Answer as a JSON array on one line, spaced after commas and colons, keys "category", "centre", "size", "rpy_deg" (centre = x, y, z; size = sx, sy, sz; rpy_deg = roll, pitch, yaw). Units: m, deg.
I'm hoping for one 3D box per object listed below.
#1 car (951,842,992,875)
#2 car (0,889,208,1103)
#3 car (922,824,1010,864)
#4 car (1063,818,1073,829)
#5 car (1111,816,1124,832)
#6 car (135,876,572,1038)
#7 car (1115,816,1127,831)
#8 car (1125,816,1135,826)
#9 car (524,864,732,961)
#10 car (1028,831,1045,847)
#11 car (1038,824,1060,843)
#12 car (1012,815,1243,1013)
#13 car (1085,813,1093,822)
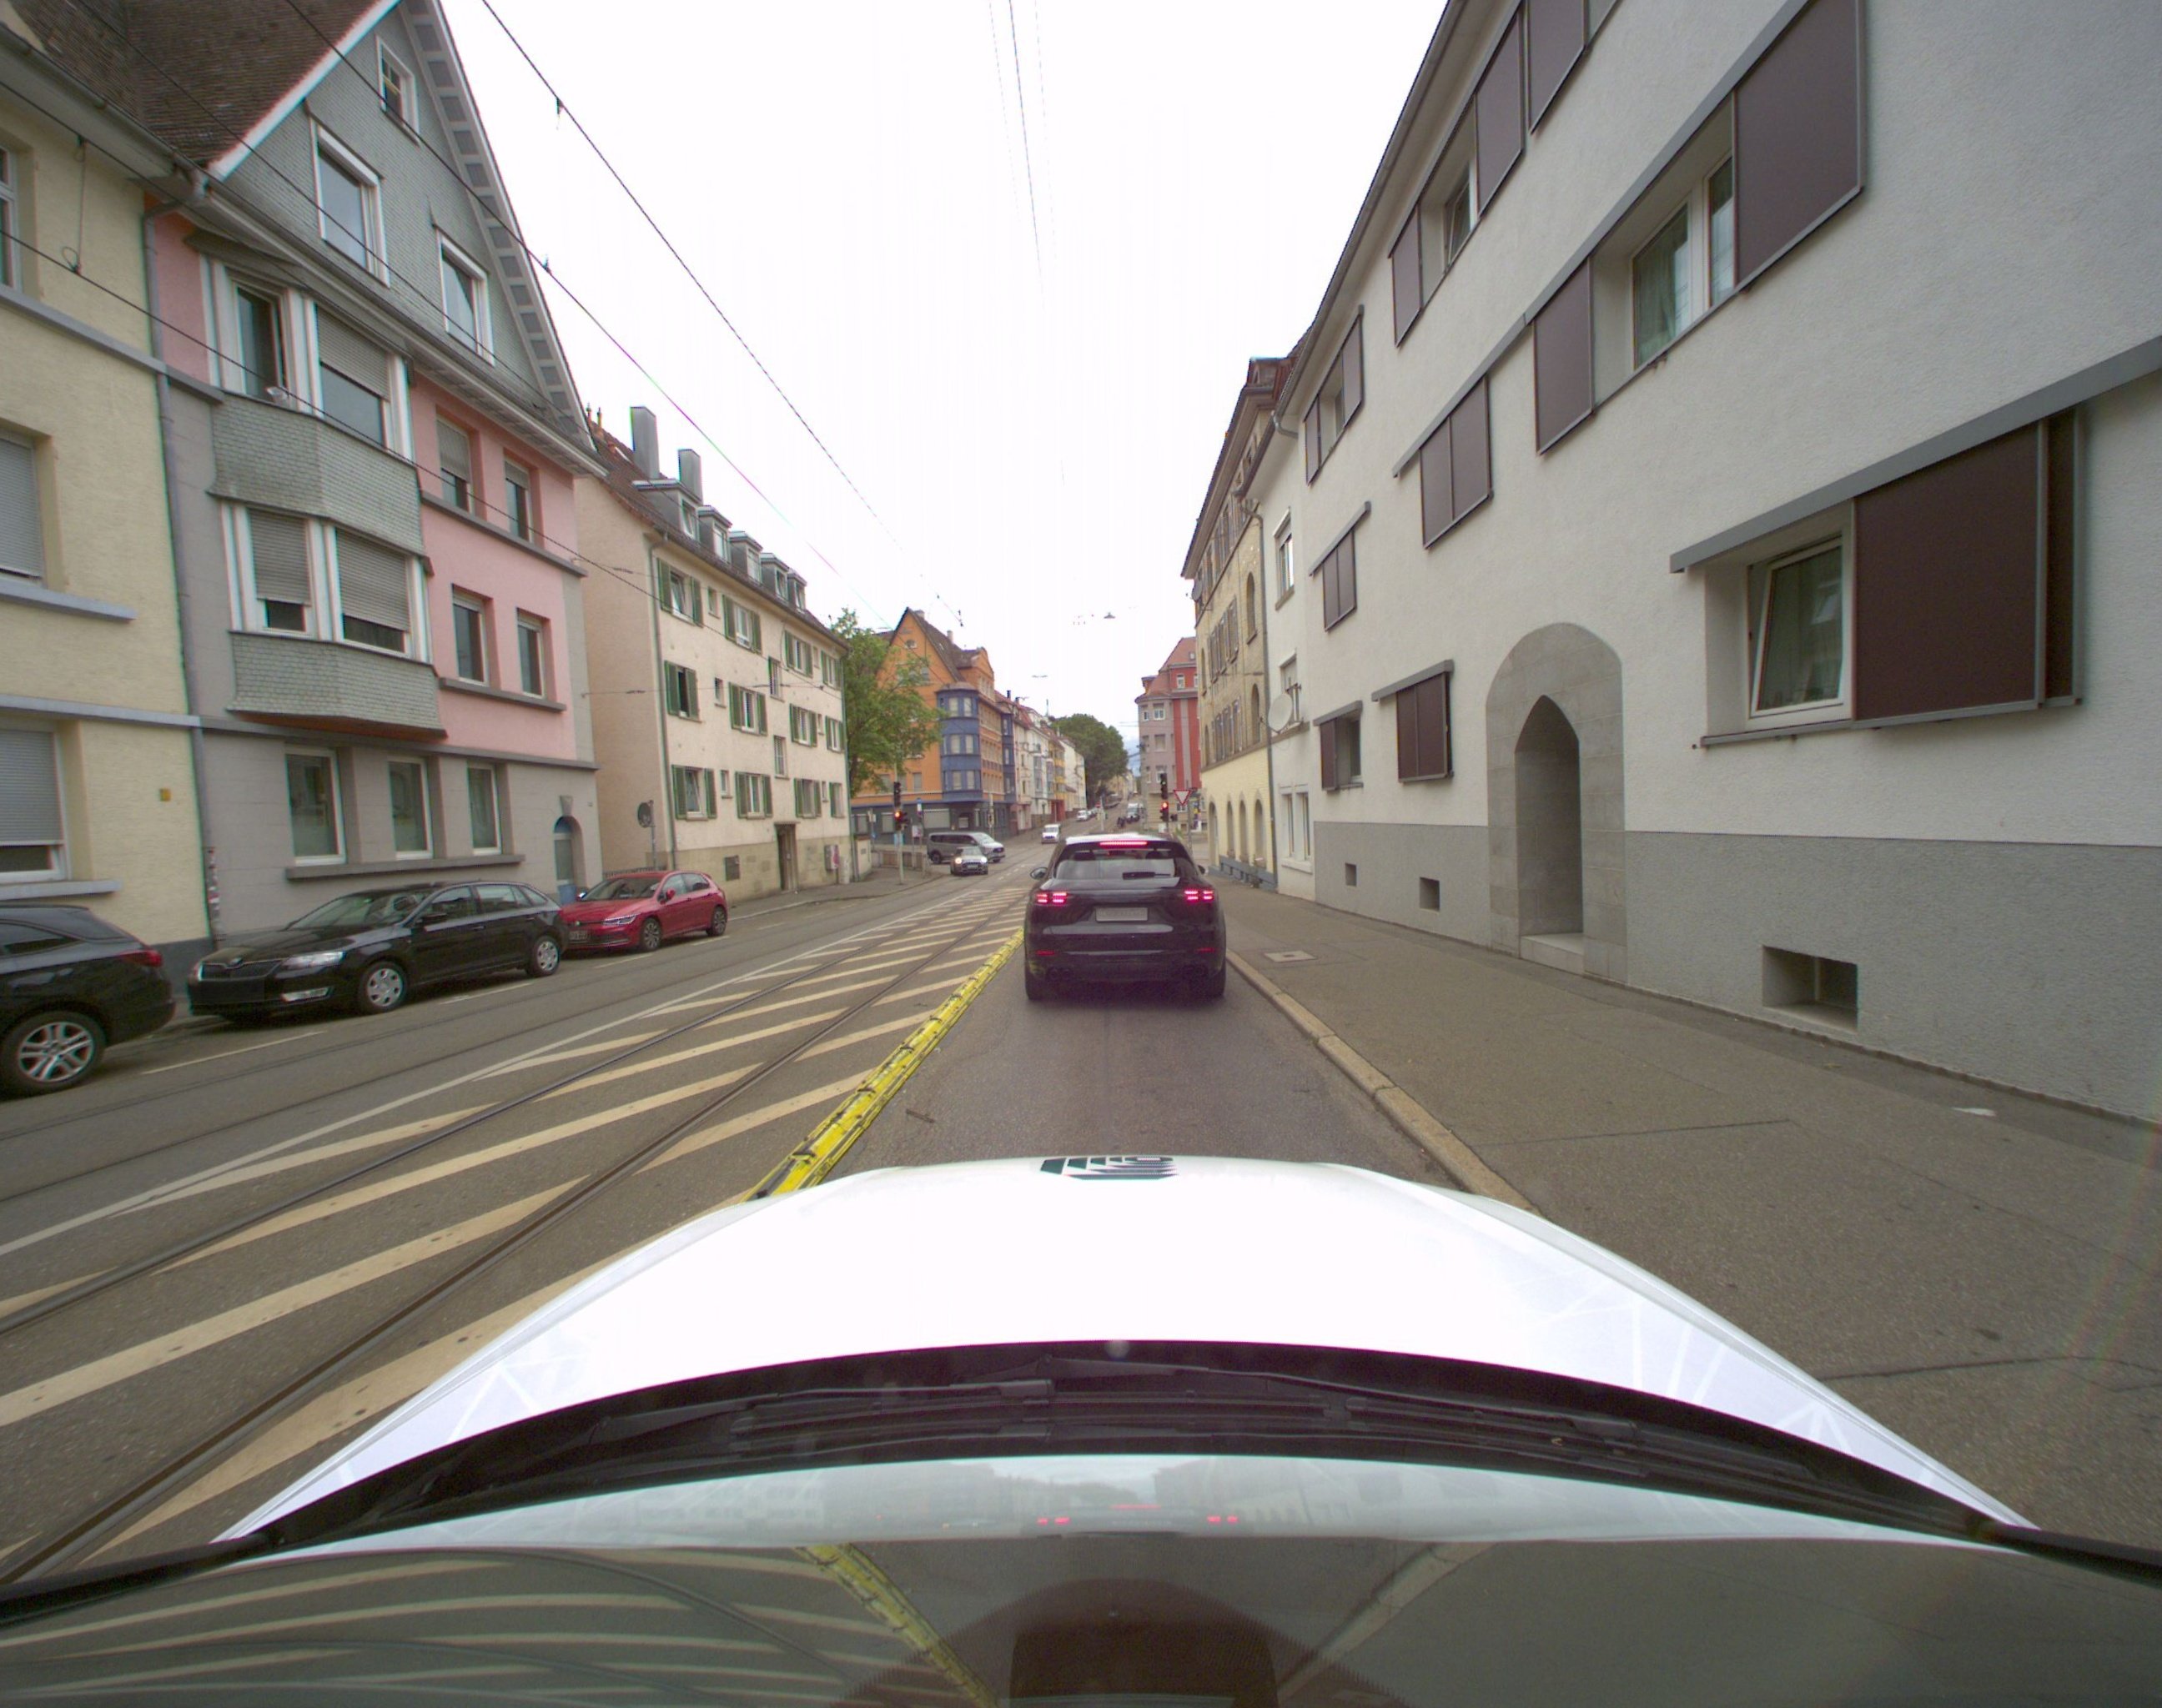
[{"category": "car", "centre": [-5.559, 0.202, 41.631], "size": [1.630, 1.508, 3.538], "rpy_deg": [-3, 0, -2]}, {"category": "car", "centre": [-8.583, 1.087, 4.881], "size": [1.614, 1.473, 4.558], "rpy_deg": [-3, 0, 2]}, {"category": "car", "centre": [-7.408, -0.637, 52.331], "size": [5.240, 2.239, 2.013], "rpy_deg": [-2, 4, 26]}, {"category": "car", "centre": [-1.993, -4.734, 126.013], "size": [1.389, 1.450, 3.361], "rpy_deg": [-3, 0, 2]}, {"category": "car", "centre": [4.305, -3.543, 95.658], "size": [1.389, 1.722, 3.361], "rpy_deg": [-3, 0, 2]}, {"category": "car", "centre": [-8.594, 1.098, 10.217], "size": [1.729, 1.410, 4.002], "rpy_deg": [-3, 0, 2]}, {"category": "car", "centre": [5.005, -3.859, 102.434], "size": [1.389, 1.722, 3.361], "rpy_deg": [-3, 0, 2]}, {"category": "car", "centre": [7.644, -5.200, 127.666], "size": [1.389, 1.450, 3.361], "rpy_deg": [-3, 0, 2]}, {"category": "car", "centre": [-8.422, 0.999, 15.600], "size": [1.615, 1.490, 4.047], "rpy_deg": [-3, 0, 0]}, {"category": "car", "centre": [-4.874, -1.638, 89.216], "size": [1.389, 1.722, 3.361], "rpy_deg": [-3, 0, 2]}, {"category": "car", "centre": [-3.114, -1.959, 79.998], "size": [1.744, 1.759, 4.256], "rpy_deg": [-3, 0, 2]}, {"category": "car", "centre": [0.465, 0.521, 9.267], "size": [1.986, 1.676, 4.001], "rpy_deg": [-3, 0, 1]}, {"category": "car", "centre": [1.464, -6.834, 153.611], "size": [1.389, 1.450, 3.361], "rpy_deg": [-3, 0, 2]}]
